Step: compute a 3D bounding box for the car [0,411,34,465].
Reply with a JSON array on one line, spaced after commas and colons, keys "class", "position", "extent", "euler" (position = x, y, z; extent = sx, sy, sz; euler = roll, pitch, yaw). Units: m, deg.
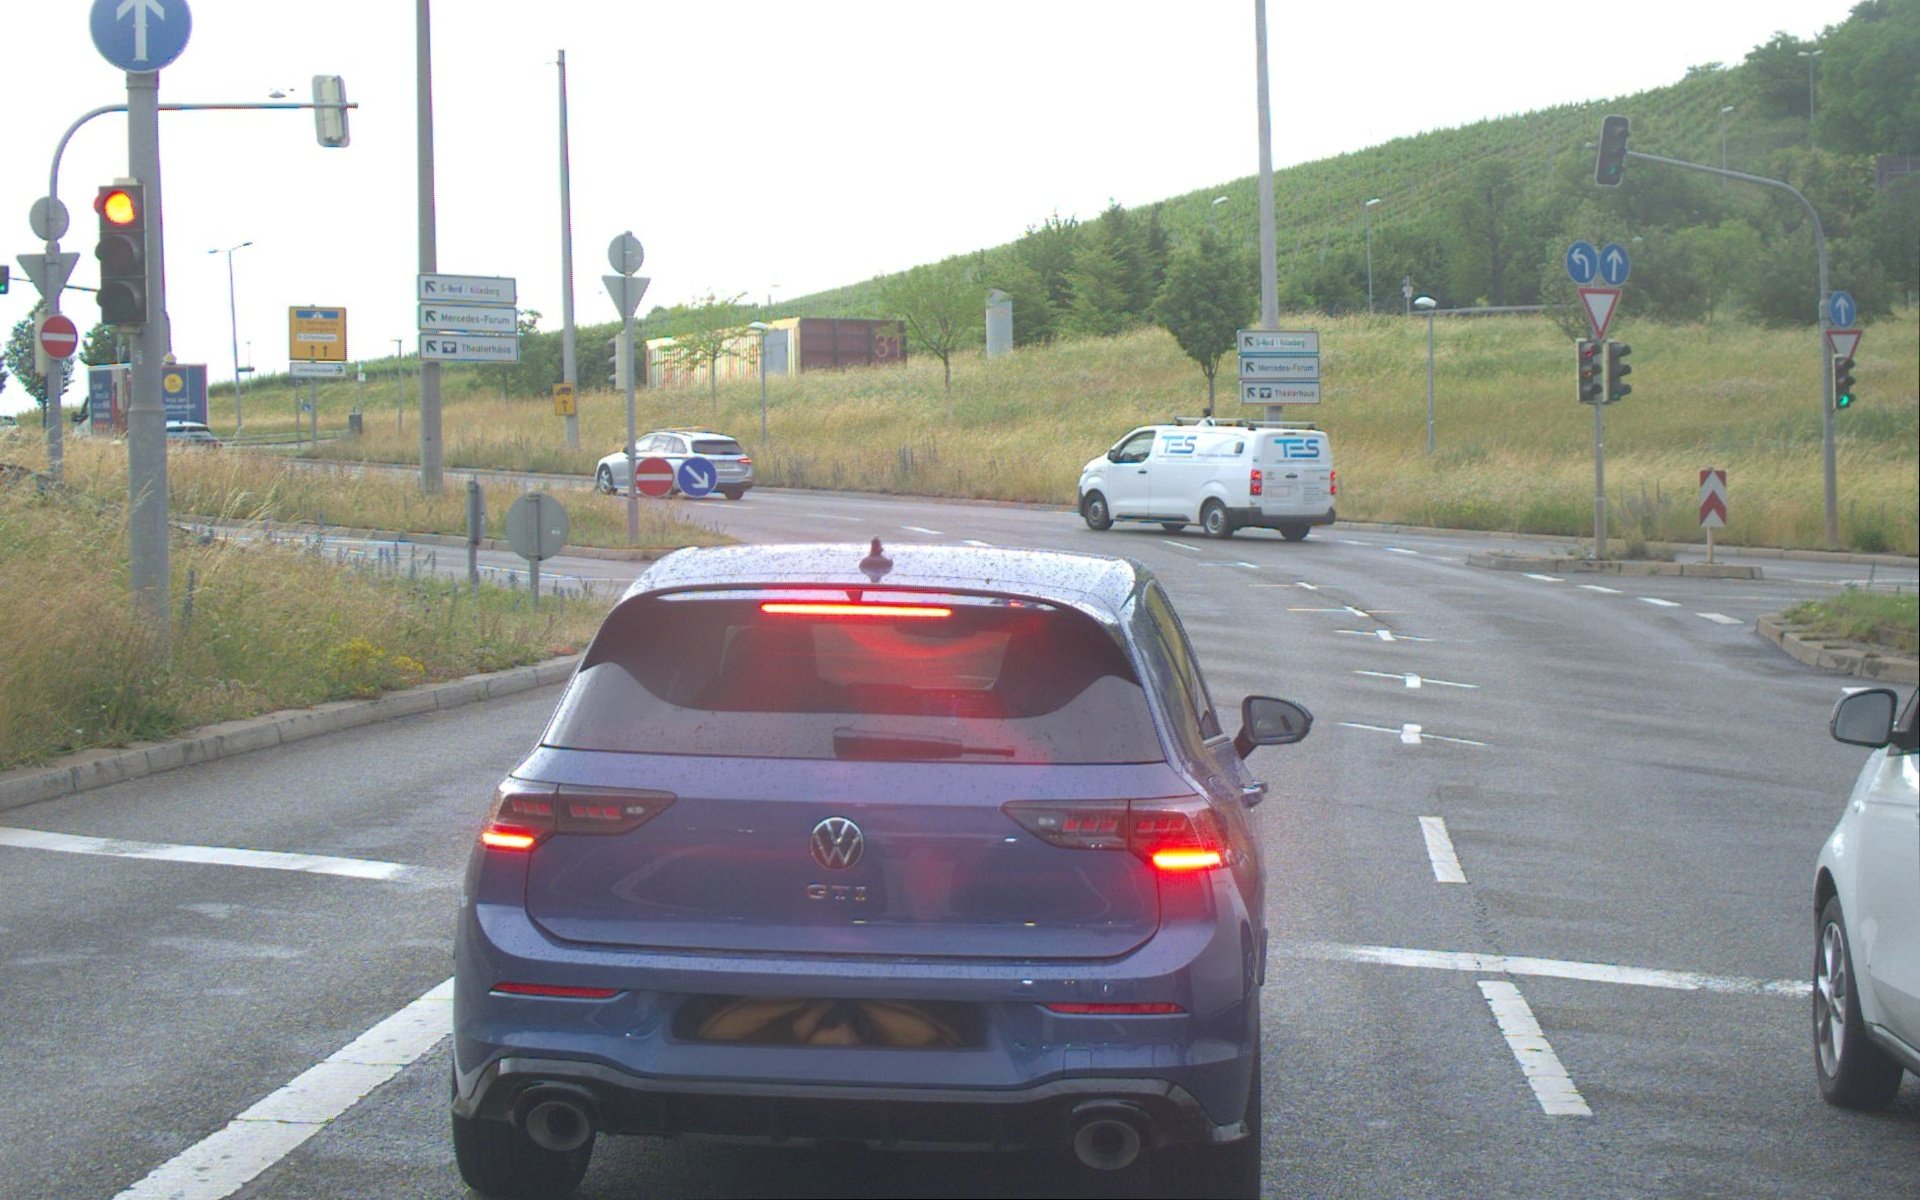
[{"class": "car", "position": [-32.118, -5.284, 112.636], "extent": [1.994, 1.654, 4.544], "euler": [0, 1, -35]}]

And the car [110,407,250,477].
[{"class": "car", "position": [-19.996, -4.022, 88.062], "extent": [1.994, 1.654, 4.353], "euler": [0, 1, -35]}]

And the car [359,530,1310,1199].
[{"class": "car", "position": [-0.120, 0.583, 8.514], "extent": [1.825, 1.455, 3.808], "euler": [1, 2, 4]}]

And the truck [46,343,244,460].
[{"class": "truck", "position": [-23.512, -5.733, 99.010], "extent": [3.258, 3.064, 6.176], "euler": [3, 2, -36]}]

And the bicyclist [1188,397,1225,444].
[{"class": "bicyclist", "position": [5.644, -4.108, 78.759], "extent": [0.523, 1.043, 0.580], "euler": [2, 2, -41]}]

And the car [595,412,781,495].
[{"class": "car", "position": [-5.949, -3.154, 74.837], "extent": [1.994, 1.654, 4.544], "euler": [0, 1, -35]}]

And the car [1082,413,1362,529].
[{"class": "car", "position": [4.364, -2.139, 58.011], "extent": [2.129, 1.788, 4.740], "euler": [2, 0, -35]}]

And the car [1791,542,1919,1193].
[{"class": "car", "position": [3.047, 0.626, 7.883], "extent": [1.658, 1.498, 3.450], "euler": [1, 1, 4]}]

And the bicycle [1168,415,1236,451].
[{"class": "bicycle", "position": [5.542, -3.828, 78.856], "extent": [0.518, 0.772, 1.620], "euler": [2, 2, -42]}]
